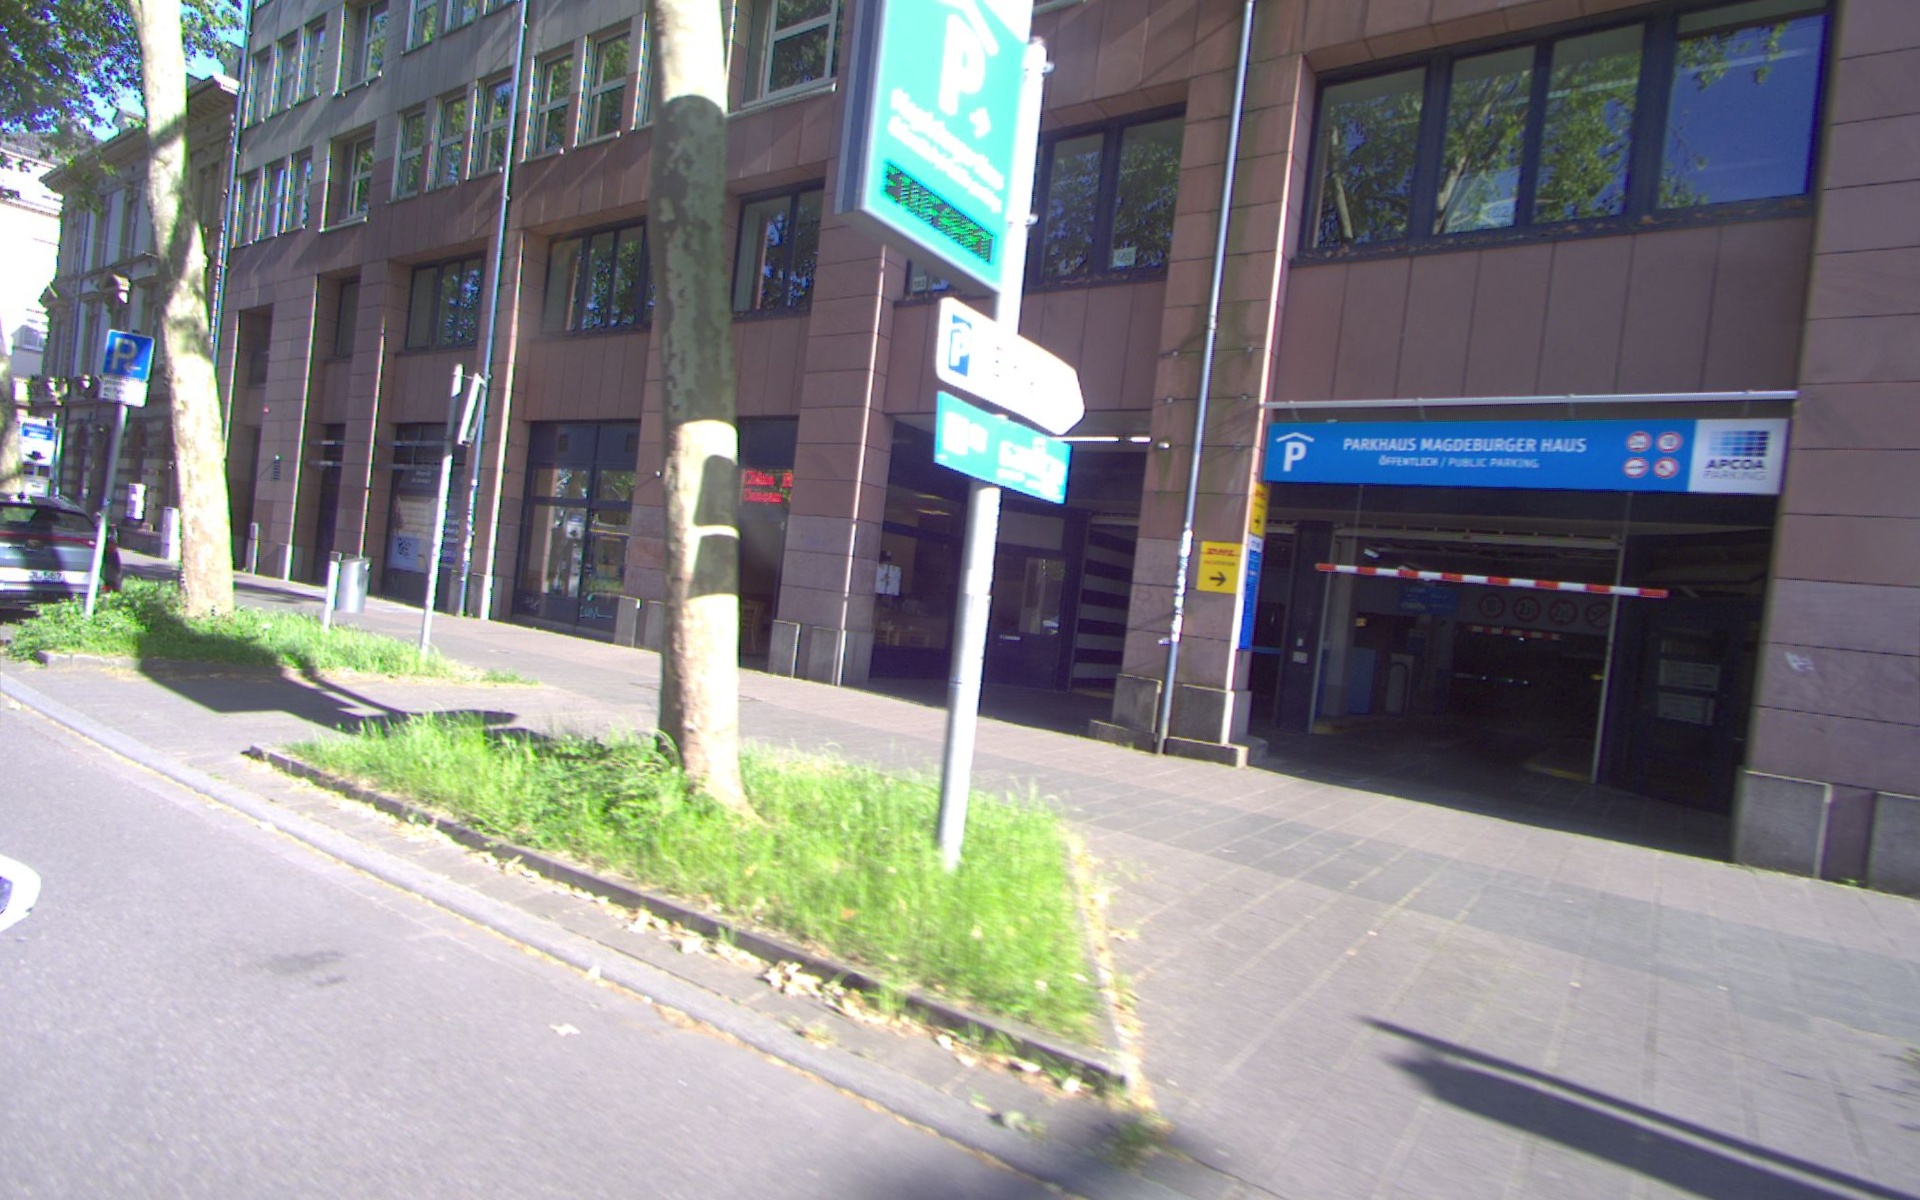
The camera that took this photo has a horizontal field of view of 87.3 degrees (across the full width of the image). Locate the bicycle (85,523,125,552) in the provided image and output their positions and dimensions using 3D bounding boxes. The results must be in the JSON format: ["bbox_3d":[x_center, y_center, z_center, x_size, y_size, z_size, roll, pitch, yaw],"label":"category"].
[{"bbox_3d":[-27.570,-2.024,32.436,1.636,0.784,0.548,6,2,35],"label":"bicycle"}]

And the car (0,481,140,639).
[{"bbox_3d":[-11.710,-0.614,12.172,4.214,1.589,1.669,6,-2,37],"label":"car"}]

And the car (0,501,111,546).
[{"bbox_3d":[-43.066,-3.610,47.698,1.641,1.491,3.938,6,-1,39],"label":"car"}]

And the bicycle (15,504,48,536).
[{"bbox_3d":[-33.641,-2.910,36.438,1.853,1.009,0.414,6,0,35],"label":"bicycle"}]
